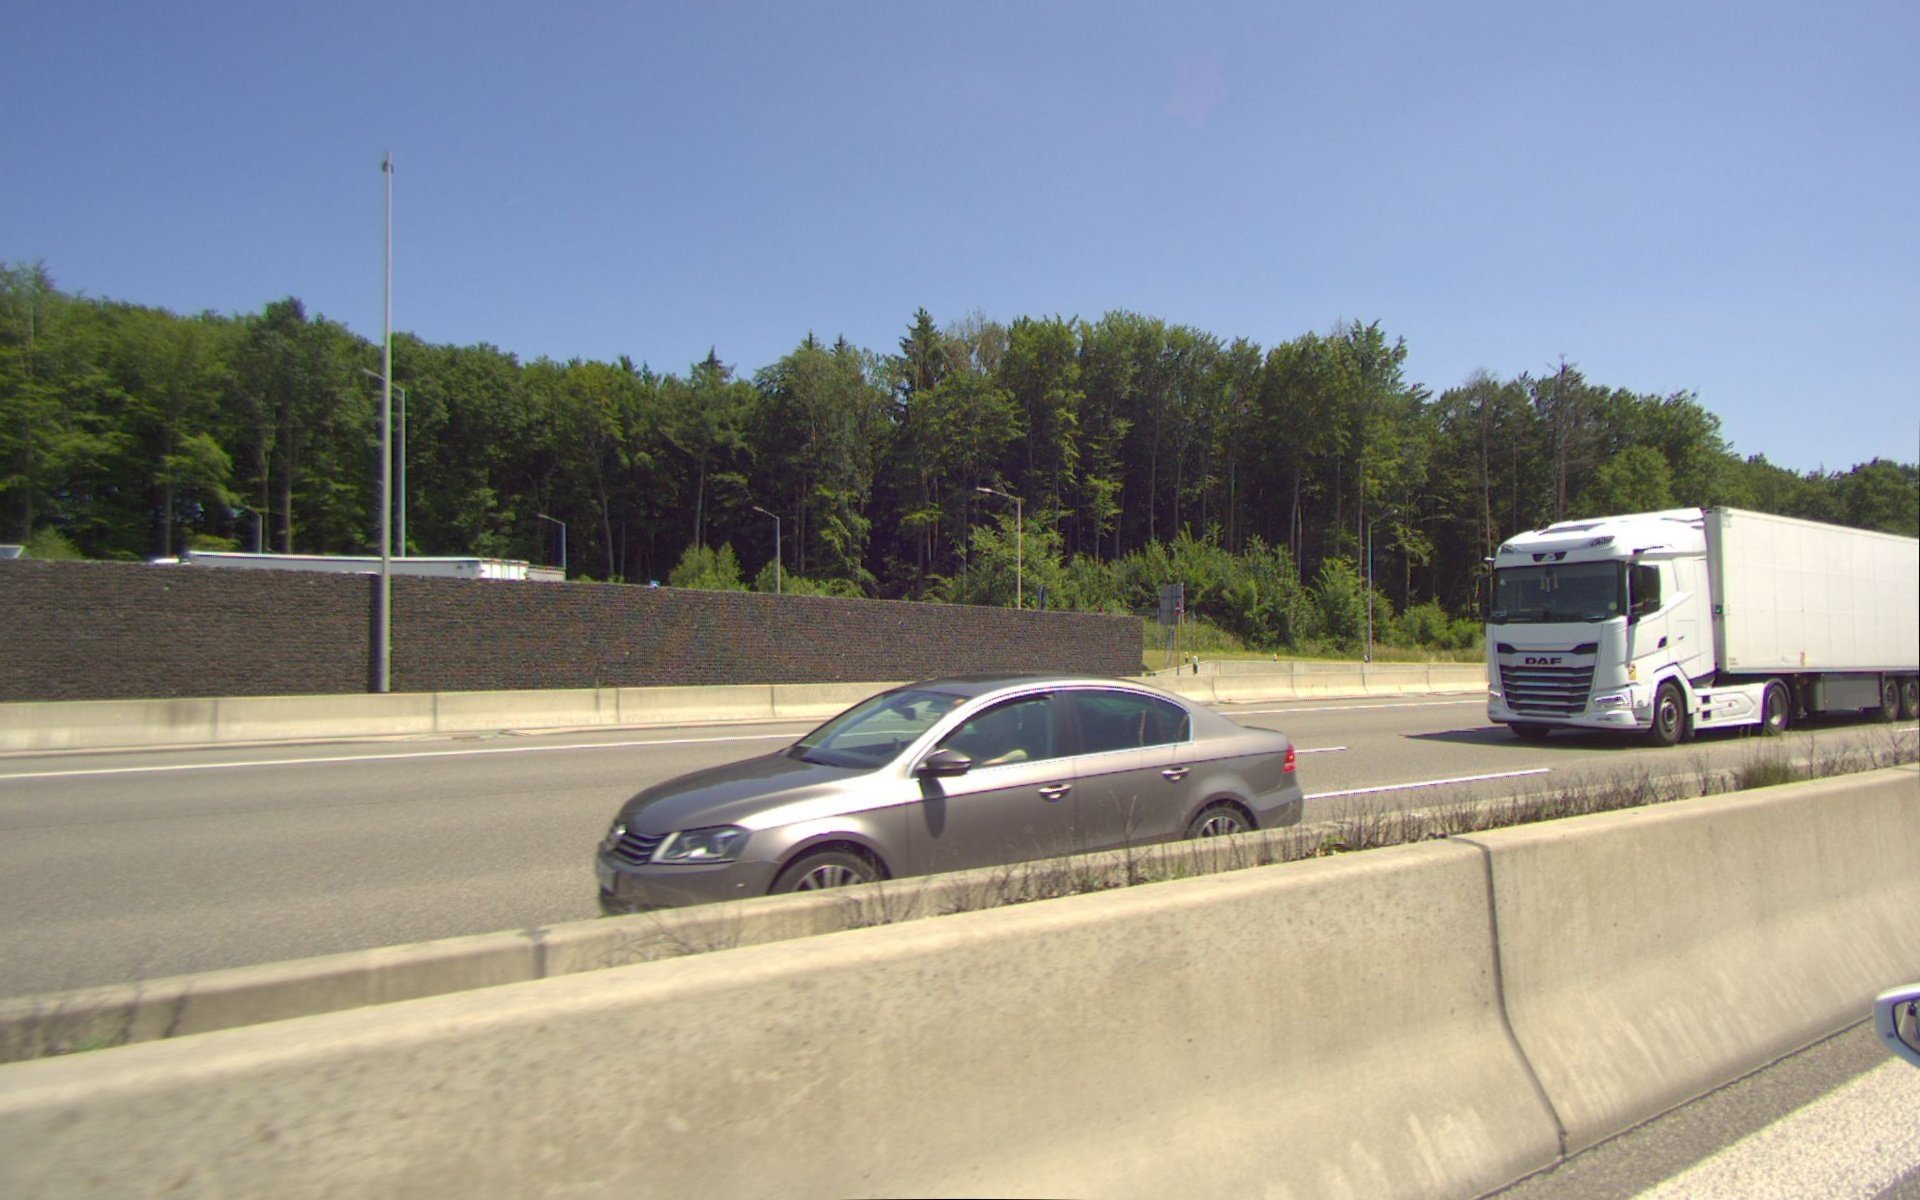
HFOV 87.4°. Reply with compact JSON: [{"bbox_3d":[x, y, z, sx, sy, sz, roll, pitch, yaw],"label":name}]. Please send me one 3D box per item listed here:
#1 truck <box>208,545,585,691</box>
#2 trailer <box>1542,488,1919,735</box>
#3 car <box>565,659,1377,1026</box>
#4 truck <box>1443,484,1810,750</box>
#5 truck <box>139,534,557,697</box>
[{"bbox_3d":[-24.065,0.798,42.715,16.374,5.686,3.225,0,-2,15],"label":"truck"},{"bbox_3d":[18.562,0.414,22.378,14.299,4.280,3.009,1,-3,-31],"label":"trailer"},{"bbox_3d":[0.277,1.183,6.591,5.079,1.506,1.983,1,-2,-32],"label":"car"},{"bbox_3d":[12.577,0.394,18.849,6.868,4.191,3.033,1,-3,-31],"label":"truck"},{"bbox_3d":[-23.800,0.631,38.901,16.374,5.686,3.453,0,-2,15],"label":"truck"}]
